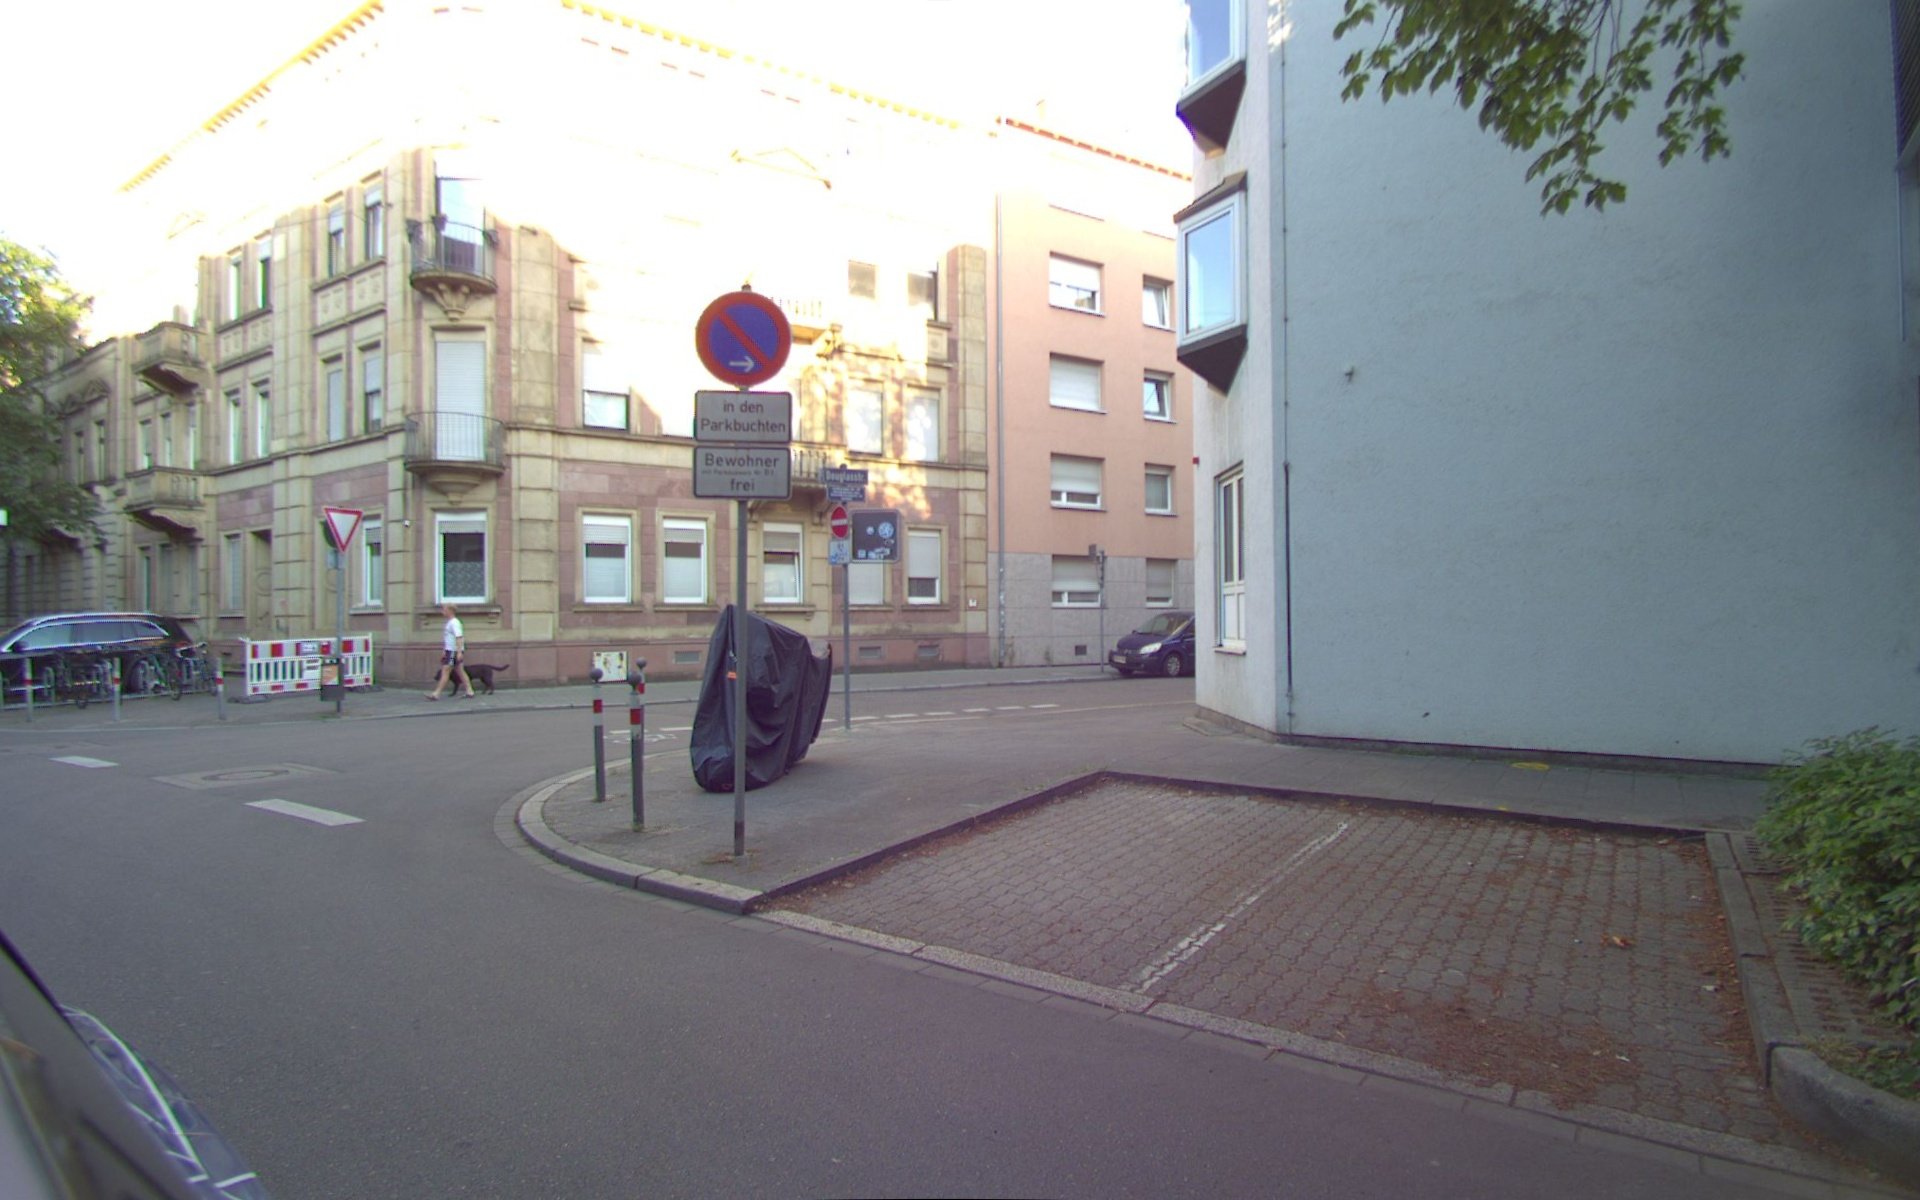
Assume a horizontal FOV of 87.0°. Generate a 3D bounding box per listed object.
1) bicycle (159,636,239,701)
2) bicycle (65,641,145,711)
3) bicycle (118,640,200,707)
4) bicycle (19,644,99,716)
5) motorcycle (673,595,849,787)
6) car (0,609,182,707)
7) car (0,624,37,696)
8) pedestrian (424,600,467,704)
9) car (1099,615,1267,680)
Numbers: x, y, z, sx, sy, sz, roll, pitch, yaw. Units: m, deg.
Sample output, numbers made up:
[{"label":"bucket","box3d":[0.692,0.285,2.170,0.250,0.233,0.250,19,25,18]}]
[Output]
[{"label":"bicycle","box3d":[-14.439,1.271,19.181,2.033,1.159,0.556,-1,-1,33]},{"label":"bicycle","box3d":[-15.265,1.330,18.050,2.034,1.159,0.555,-1,-1,34]},{"label":"bicycle","box3d":[-14.793,1.332,18.678,2.033,1.159,0.556,-1,-1,33]},{"label":"bicycle","box3d":[-15.618,1.354,17.520,2.034,1.159,0.555,-1,-1,34]},{"label":"motorcycle","box3d":[-1.719,0.746,9.199,0.809,1.516,2.276,-1,-1,10]},{"label":"car","box3d":[-17.898,1.090,19.464,1.740,1.795,4.368,-1,-2,39]},{"label":"car","box3d":[-24.298,1.425,23.389,1.740,1.690,4.190,-1,-2,39]},{"label":"pedestrian","box3d":[-9.199,0.912,18.078,0.640,1.821,0.575,0,-1,-31]},{"label":"car","box3d":[5.744,1.165,25.849,4.297,1.529,1.789,1,-2,-36]}]
